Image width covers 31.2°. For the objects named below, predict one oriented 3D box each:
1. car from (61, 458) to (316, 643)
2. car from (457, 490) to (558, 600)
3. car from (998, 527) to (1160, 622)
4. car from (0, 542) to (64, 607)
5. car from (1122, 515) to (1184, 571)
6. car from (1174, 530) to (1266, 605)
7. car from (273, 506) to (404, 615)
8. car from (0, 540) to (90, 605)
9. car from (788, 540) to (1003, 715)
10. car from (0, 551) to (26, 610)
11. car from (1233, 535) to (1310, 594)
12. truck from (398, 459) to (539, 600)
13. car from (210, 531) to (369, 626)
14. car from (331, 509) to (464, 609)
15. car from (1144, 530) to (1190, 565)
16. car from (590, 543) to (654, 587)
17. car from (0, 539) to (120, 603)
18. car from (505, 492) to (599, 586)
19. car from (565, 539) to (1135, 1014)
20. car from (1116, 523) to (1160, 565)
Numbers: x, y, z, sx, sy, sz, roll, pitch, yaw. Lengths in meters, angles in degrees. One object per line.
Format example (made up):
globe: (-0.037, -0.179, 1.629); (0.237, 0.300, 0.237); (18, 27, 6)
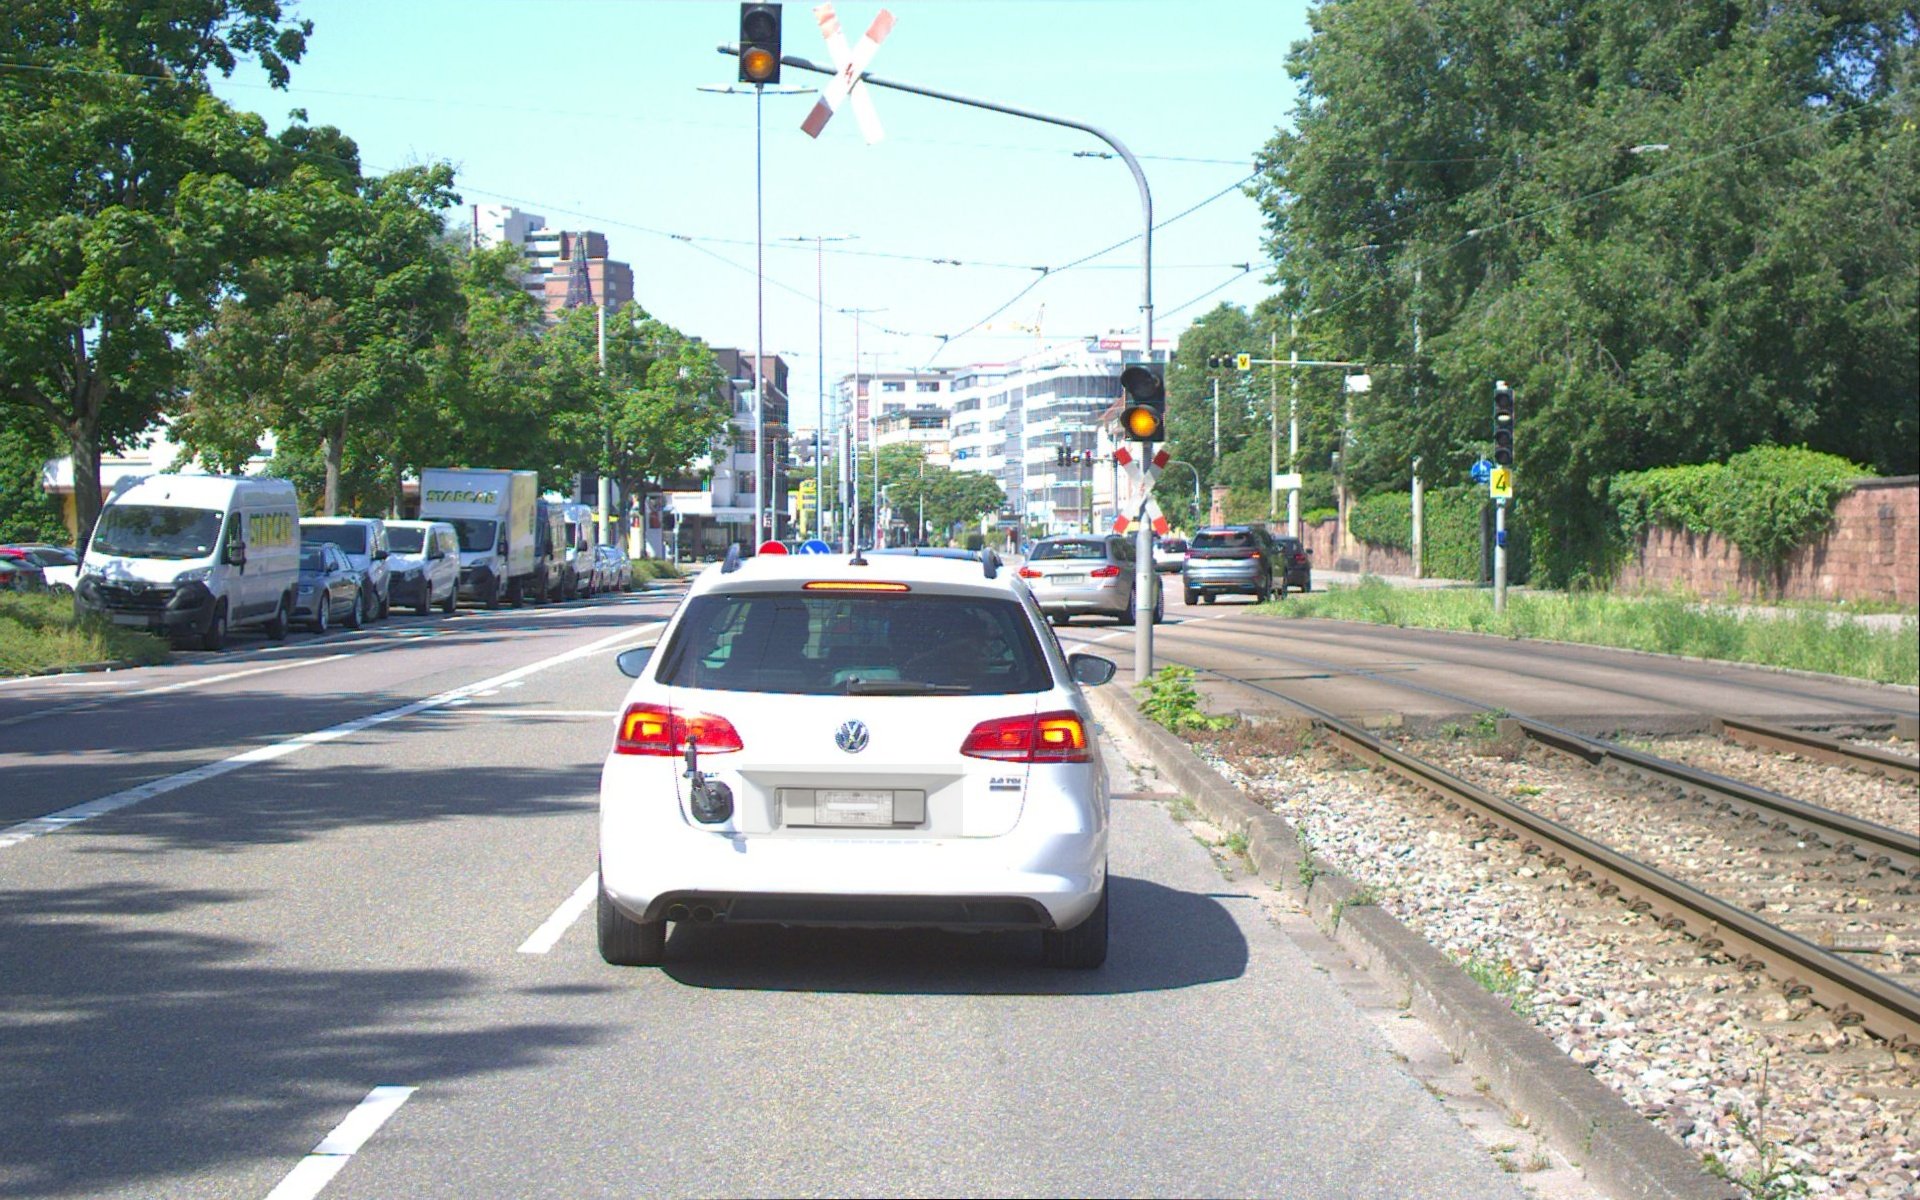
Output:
car: (-11.356, -0.765, 51.135); (2.059, 2.492, 6.307); (2, 1, 2)
car: (-11.369, -1.401, 86.704); (1.843, 2.659, 5.003); (0, 1, 0)
car: (1.987, -0.434, 55.965); (1.862, 1.412, 4.322); (2, 1, 12)
car: (-21.857, -0.549, 75.219); (3.987, 1.397, 1.771); (0, 1, 3)
car: (9.045, -2.670, 161.840); (2.463, 2.490, 5.910); (2, 0, -1)
car: (5.546, -0.720, 73.558); (1.861, 1.507, 3.913); (2, 1, 4)
car: (-11.578, -0.763, 64.294); (1.843, 1.930, 5.195); (-1, 1, -4)
car: (-21.913, -0.619, 77.721); (3.987, 1.439, 1.771); (0, 1, 3)
car: (-0.540, 0.193, 30.361); (1.746, 1.383, 3.913); (2, 1, 0)
car: (-21.963, -0.396, 72.585); (3.987, 1.221, 1.771); (0, 1, 3)
car: (7.874, -0.905, 86.656); (1.746, 1.403, 3.912); (2, 1, 7)
truck: (-11.301, -1.638, 79.548); (2.356, 3.112, 6.892); (0, 1, -1)
car: (-11.159, -0.390, 57.480); (1.843, 1.511, 4.197); (0, 1, 0)
car: (-11.486, -0.865, 70.496); (1.843, 1.954, 5.134); (0, 1, 0)
car: (8.381, -2.117, 139.364); (1.581, 1.341, 3.454); (2, 0, 0)
car: (-11.310, -1.180, 115.191); (1.780, 1.428, 4.038); (0, 1, 0)
car: (-21.847, -0.677, 80.266); (3.987, 1.439, 1.771); (0, 1, 3)
car: (-11.197, -1.687, 94.689); (1.843, 2.486, 5.857); (0, 1, 0)
car: (-0.387, 0.530, 12.885); (1.768, 1.441, 3.913); (2, 1, -1)
car: (7.935, -2.476, 153.532); (1.691, 1.806, 3.454); (2, 0, -1)
